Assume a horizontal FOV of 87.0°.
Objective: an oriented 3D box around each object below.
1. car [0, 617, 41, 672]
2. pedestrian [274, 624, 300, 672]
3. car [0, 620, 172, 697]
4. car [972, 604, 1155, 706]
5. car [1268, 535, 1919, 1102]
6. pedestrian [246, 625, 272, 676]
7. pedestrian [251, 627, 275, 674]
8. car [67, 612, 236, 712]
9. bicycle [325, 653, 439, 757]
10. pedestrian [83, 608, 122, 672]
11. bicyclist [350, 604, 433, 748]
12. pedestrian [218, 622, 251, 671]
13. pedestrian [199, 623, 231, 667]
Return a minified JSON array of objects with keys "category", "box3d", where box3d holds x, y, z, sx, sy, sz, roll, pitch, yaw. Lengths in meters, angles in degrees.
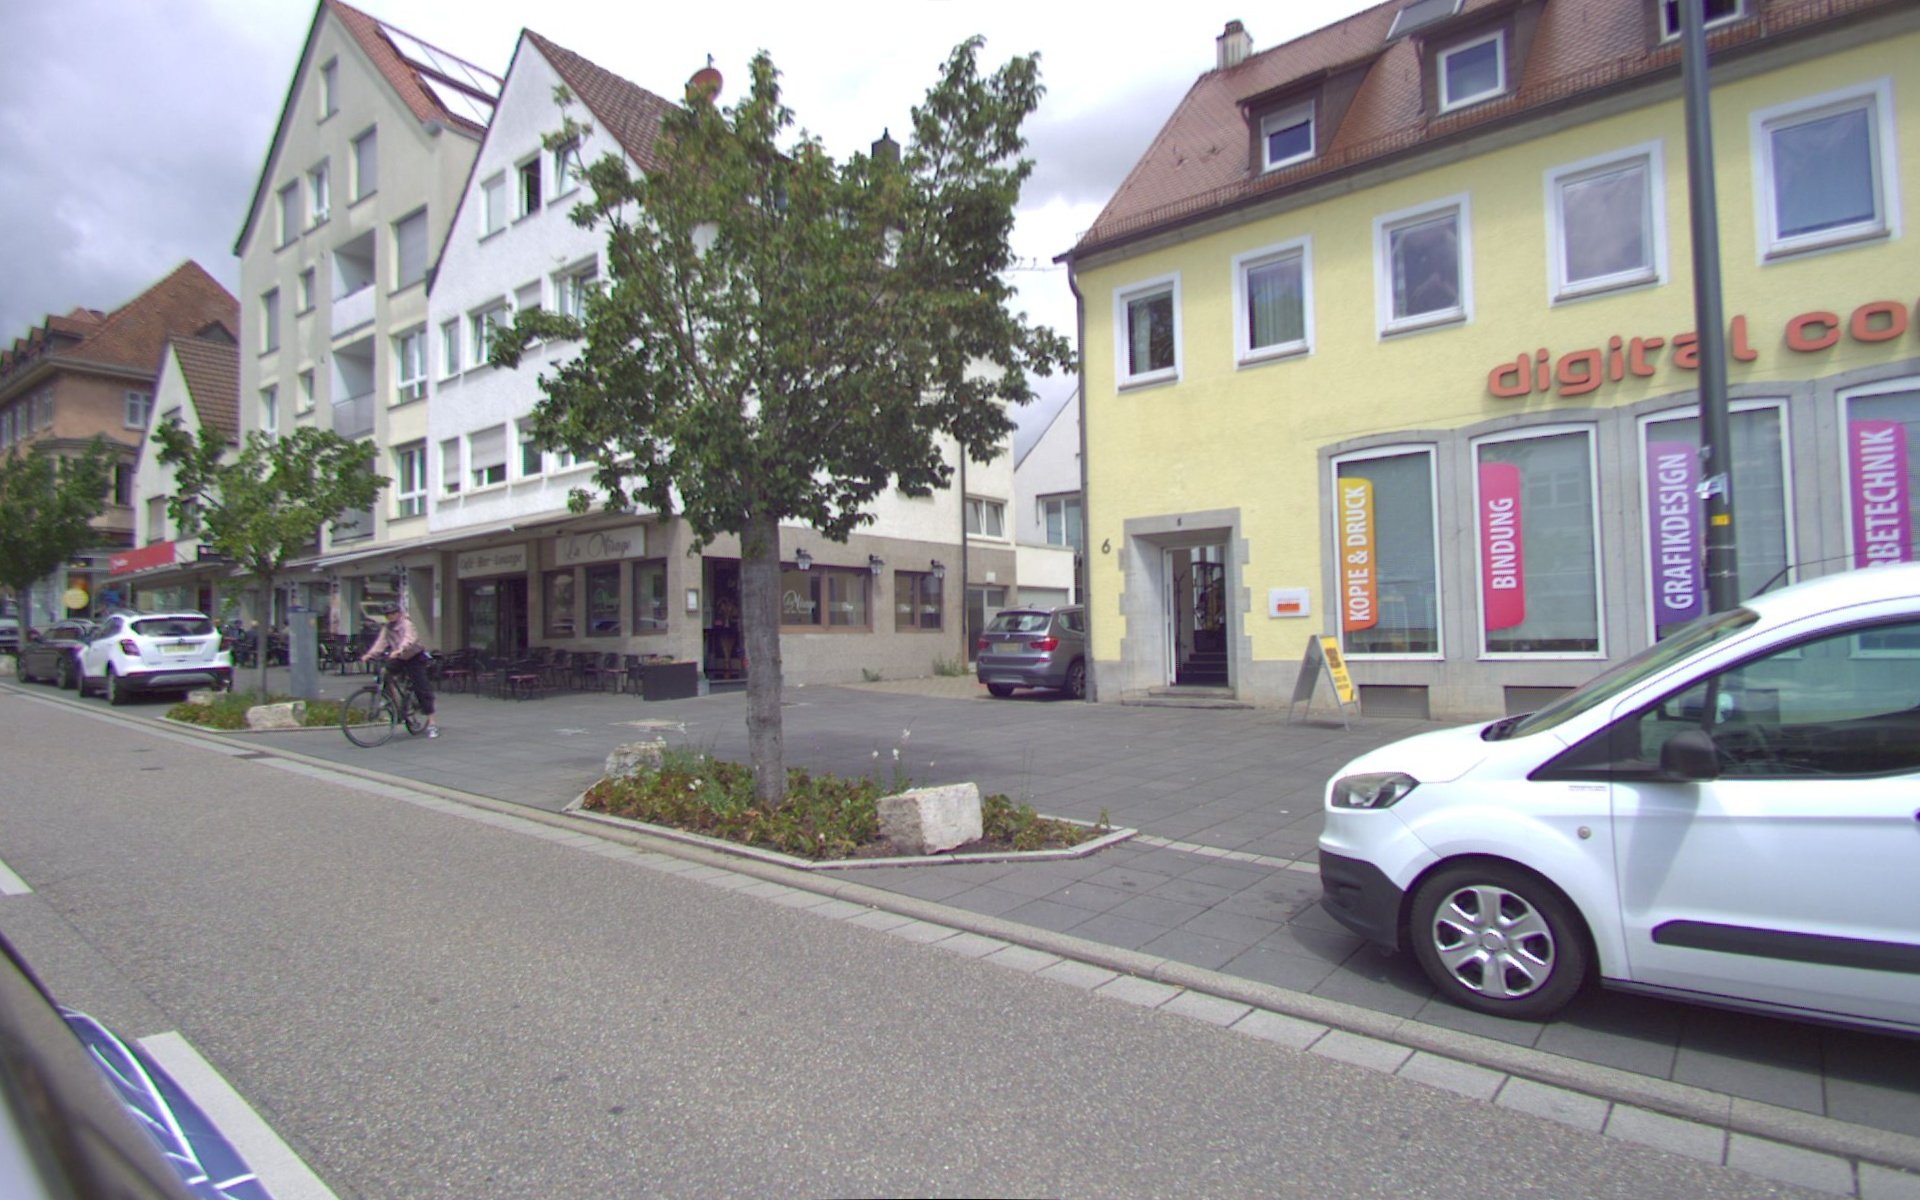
[{"category":"car","box3d":[-27.824,1.236,28.845,4.437,1.403,1.641,1,-1,38]},{"category":"pedestrian","box3d":[-17.918,1.271,26.936,0.566,1.259,0.423,-1,-1,37]},{"category":"car","box3d":[-19.462,1.217,22.486,4.504,1.462,1.824,0,0,34]},{"category":"car","box3d":[1.954,0.934,18.459,1.730,1.663,3.494,-2,-2,38]},{"category":"car","box3d":[3.506,0.643,3.534,4.345,1.684,1.640,-1,-1,38]},{"category":"pedestrian","box3d":[-18.214,1.296,26.302,0.453,1.309,0.417,-1,-1,37]},{"category":"pedestrian","box3d":[-18.998,1.361,27.589,0.499,1.259,0.391,-1,-1,37]},{"category":"car","box3d":[-15.275,1.073,19.047,4.129,1.659,1.649,-1,0,39]},{"category":"bicycle","box3d":[-7.010,1.241,12.357,0.407,1.096,1.653,1,0,1]},{"category":"pedestrian","box3d":[-24.379,1.122,28.768,0.776,1.774,0.654,1,-1,35]},{"category":"bicyclist","box3d":[-6.962,0.917,12.424,0.503,1.708,0.777,1,-3,2]},{"category":"pedestrian","box3d":[-19.457,1.238,27.139,0.598,1.277,0.545,0,-1,37]},{"category":"pedestrian","box3d":[-21.674,1.307,29.457,0.598,1.256,0.590,0,-1,37]}]
